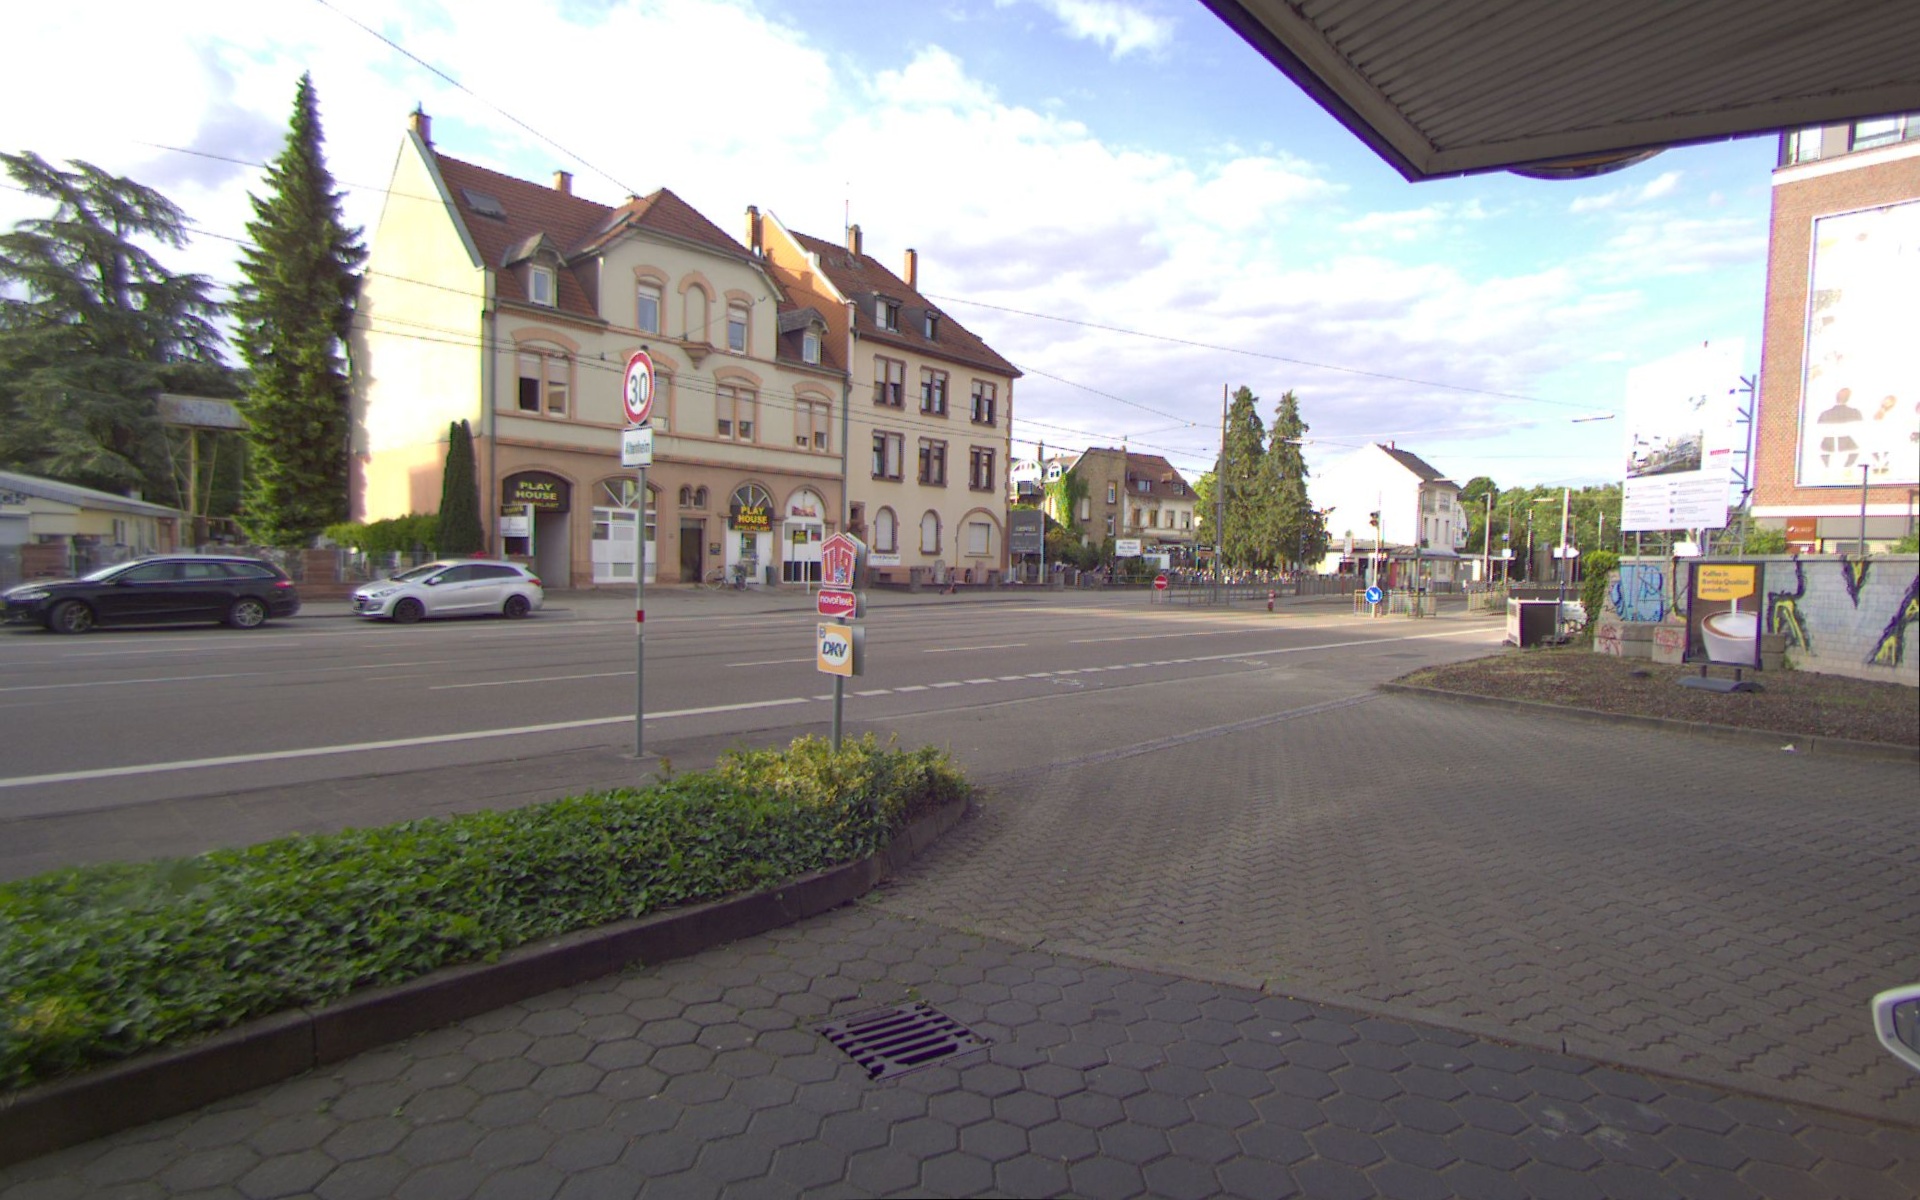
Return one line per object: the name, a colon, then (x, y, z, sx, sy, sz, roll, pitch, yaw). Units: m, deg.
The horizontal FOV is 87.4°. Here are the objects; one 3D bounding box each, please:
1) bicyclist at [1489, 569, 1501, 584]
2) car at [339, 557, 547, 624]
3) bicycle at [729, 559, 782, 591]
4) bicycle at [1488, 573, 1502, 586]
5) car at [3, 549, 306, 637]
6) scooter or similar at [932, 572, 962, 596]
bicyclist: (55.086, -2.442, 103.351, 0.742, 1.428, 0.915, 8, 7, 44)
car: (-12.943, -0.251, 25.340, 1.718, 1.502, 4.357, 3, 2, 41)
bicycle: (-8.261, -1.004, 40.610, 0.741, 1.219, 2.011, 8, 5, 41)
bicycle: (55.033, -2.133, 103.333, 0.742, 1.219, 1.809, 8, 6, 44)
car: (-16.502, -0.175, 20.801, 1.827, 1.542, 4.642, 5, 4, 40)
scooter or similar: (-0.580, -0.717, 45.076, 0.437, 1.006, 1.460, 6, 5, 41)
